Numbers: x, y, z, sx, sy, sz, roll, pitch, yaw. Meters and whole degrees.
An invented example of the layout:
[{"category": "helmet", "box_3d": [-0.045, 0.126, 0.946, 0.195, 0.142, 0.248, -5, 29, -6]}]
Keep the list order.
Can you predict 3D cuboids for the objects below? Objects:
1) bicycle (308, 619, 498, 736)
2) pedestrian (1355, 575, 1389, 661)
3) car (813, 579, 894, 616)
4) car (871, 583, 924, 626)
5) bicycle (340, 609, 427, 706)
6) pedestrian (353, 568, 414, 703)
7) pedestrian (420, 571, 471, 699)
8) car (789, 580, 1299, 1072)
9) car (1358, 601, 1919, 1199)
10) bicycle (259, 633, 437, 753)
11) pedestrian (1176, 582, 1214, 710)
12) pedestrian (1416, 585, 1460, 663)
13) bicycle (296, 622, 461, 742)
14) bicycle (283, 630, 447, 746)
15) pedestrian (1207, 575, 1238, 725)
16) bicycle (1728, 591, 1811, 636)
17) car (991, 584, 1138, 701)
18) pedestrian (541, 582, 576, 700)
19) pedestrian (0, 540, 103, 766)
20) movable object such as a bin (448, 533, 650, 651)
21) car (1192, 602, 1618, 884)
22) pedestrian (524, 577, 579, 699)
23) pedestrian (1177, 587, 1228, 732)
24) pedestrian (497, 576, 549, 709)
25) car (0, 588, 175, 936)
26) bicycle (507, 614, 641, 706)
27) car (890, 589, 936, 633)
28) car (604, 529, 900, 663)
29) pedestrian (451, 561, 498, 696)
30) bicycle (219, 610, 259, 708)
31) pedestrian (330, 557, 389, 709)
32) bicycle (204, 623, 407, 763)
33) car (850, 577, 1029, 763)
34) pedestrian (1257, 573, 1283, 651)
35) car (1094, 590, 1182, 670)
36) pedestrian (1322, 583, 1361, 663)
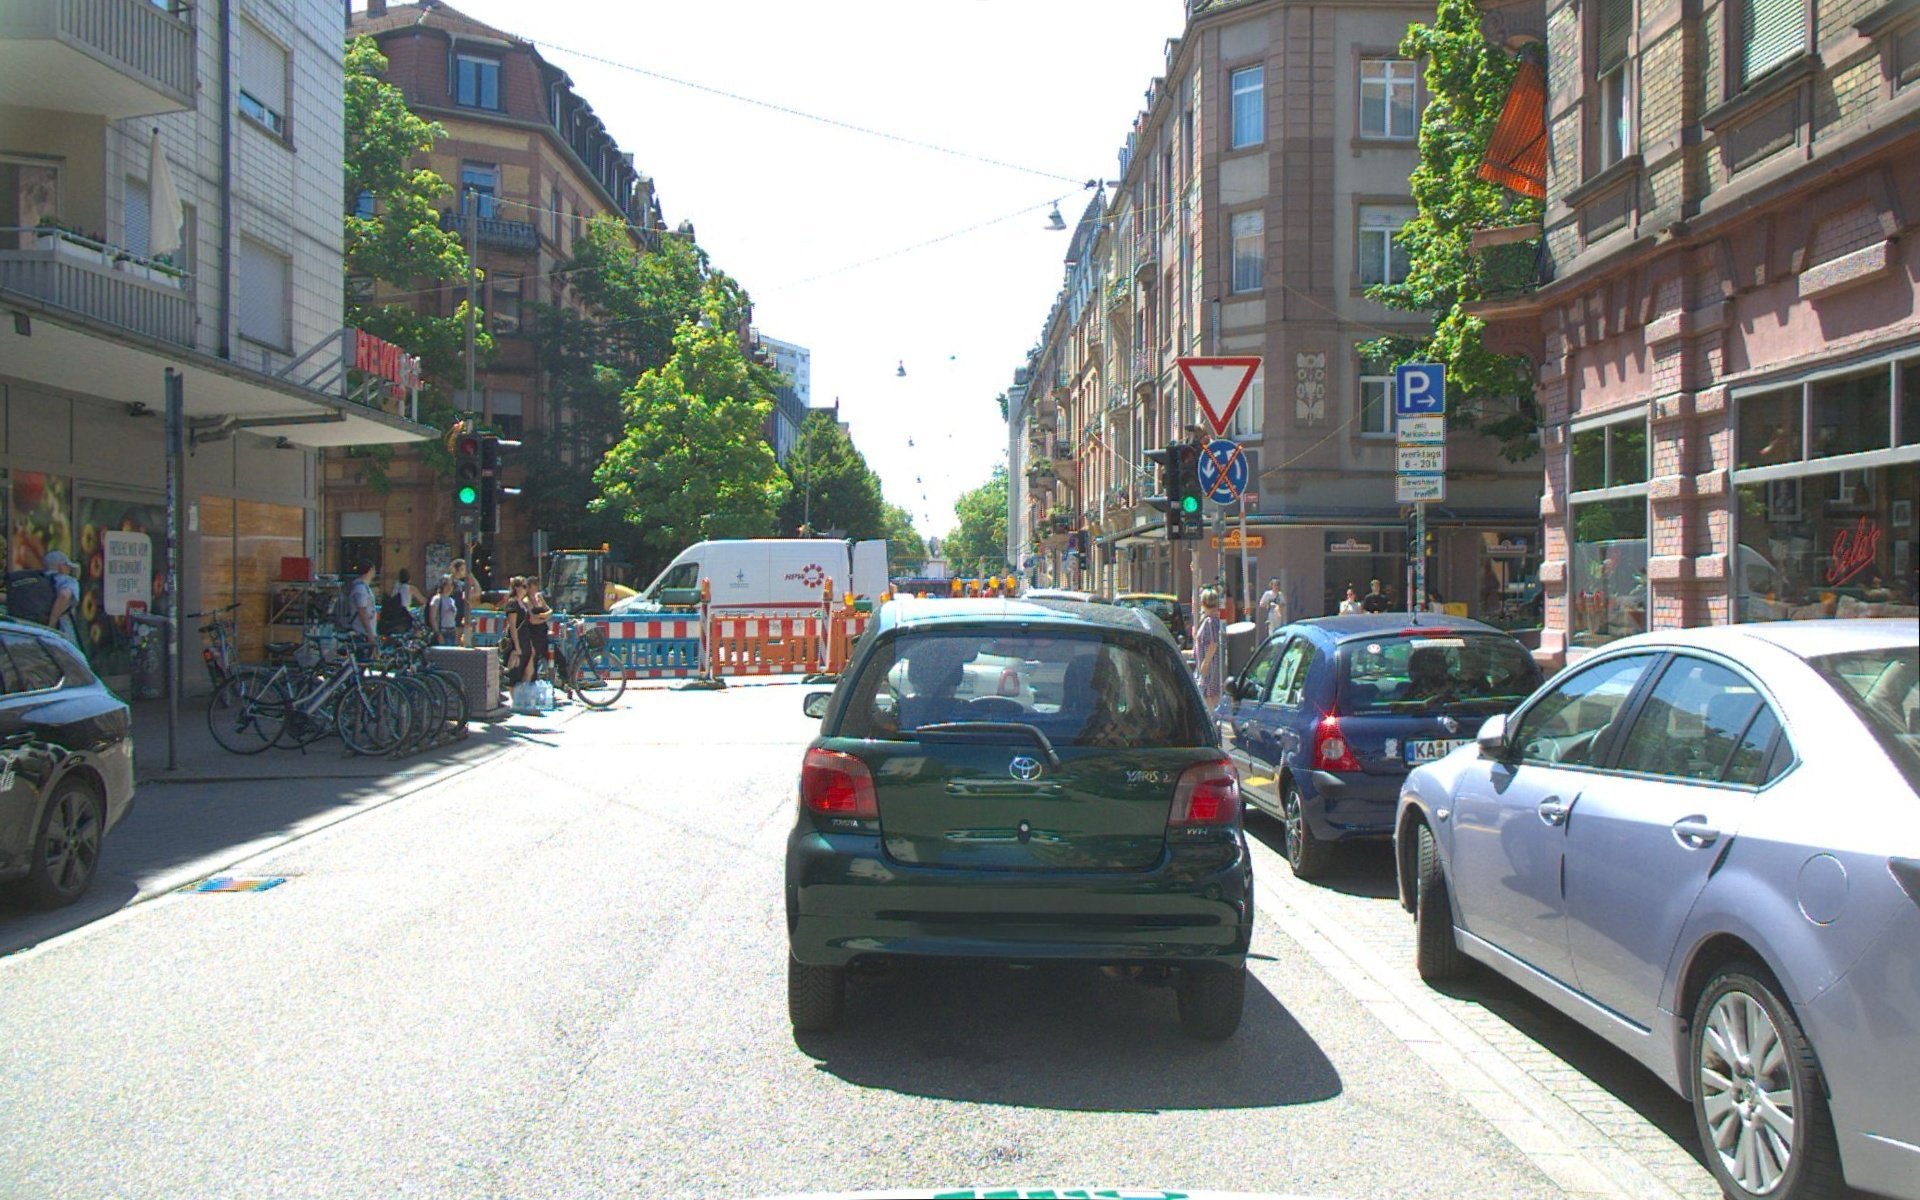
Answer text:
[{"category": "bicycle", "box_3d": [-5.850, 0.811, 17.436, 1.763, 1.142, 0.577, 2, 0, -7]}, {"category": "pedestrian", "box_3d": [8.904, 0.389, 35.754, 0.564, 1.799, 0.471, -2, 3, -9]}, {"category": "car", "box_3d": [-6.439, -0.135, 100.302, 4.506, 2.226, 1.982, 0, 0, -28]}, {"category": "car", "box_3d": [-2.183, 0.158, 58.629, 1.719, 1.469, 3.999, 0, 0, -1]}, {"category": "bicycle", "box_3d": [-7.985, 0.771, 23.000, 0.524, 1.269, 2.012, 0, 0, -1]}, {"category": "pedestrian", "box_3d": [-7.997, 0.483, 22.962, 0.519, 1.828, 0.938, 0, 0, -1]}, {"category": "pedestrian", "box_3d": [-6.790, 0.457, 21.854, 0.499, 1.661, 0.599, 0, 0, -3]}, {"category": "car", "box_3d": [0.335, 0.709, 6.832, 1.580, 1.511, 3.242, 1, 0, 3]}, {"category": "car", "box_3d": [2.742, 0.752, 5.245, 1.691, 1.457, 4.483, -1, 0, -3]}, {"category": "bicycle", "box_3d": [-5.744, 0.872, 15.564, 1.465, 1.048, 0.397, 3, 0, -5]}, {"category": "pedestrian", "box_3d": [2.957, 0.573, 20.811, 0.450, 1.587, 0.479, 0, 0, 5]}, {"category": "pedestrian", "box_3d": [10.319, 0.512, 35.720, 0.785, 1.652, 0.643, 0, 0, 1]}, {"category": "bicycle", "box_3d": [-5.868, 0.826, 16.736, 1.489, 1.136, 0.335, 3, 0, -5]}, {"category": "bicycle", "box_3d": [-5.800, 0.858, 16.156, 1.419, 1.054, 0.335, 3, 0, -5]}, {"category": "pedestrian", "box_3d": [3.018, 0.567, 19.045, 0.325, 1.705, 0.402, 0, 0, 5]}, {"category": "bicycle", "box_3d": [18.764, 0.304, 38.350, 1.690, 1.014, 0.504, 0, 2, -5]}, {"category": "car", "box_3d": [1.617, 0.573, 24.642, 1.490, 1.620, 3.266, 0, 0, 17]}, {"category": "pedestrian", "box_3d": [-5.649, 0.575, 23.287, 0.382, 1.646, 0.475, 0, 0, -3]}, {"category": "pedestrian", "box_3d": [-7.318, 0.409, 13.181, 0.617, 1.757, 0.658, 0, 0, 0]}, {"category": "movable object such as a bin", "box_3d": [-10.174, -0.193, 41.201, 4.450, 2.705, 1.955, 2, 0, 0]}, {"category": "car", "box_3d": [2.626, 0.760, 10.618, 1.595, 1.457, 3.658, -1, 0, -3]}, {"category": "pedestrian", "box_3d": [-5.446, 0.496, 22.040, 0.486, 1.593, 0.459, 2, 1, 25]}, {"category": "pedestrian", "box_3d": [2.682, 0.655, 18.321, 0.482, 1.570, 0.437, -2, 0, 5]}, {"category": "pedestrian", "box_3d": [-5.518, 0.532, 20.901, 0.530, 1.661, 0.511, 0, 0, -3]}, {"category": "car", "box_3d": [-5.132, 0.726, 6.831, 1.636, 1.551, 4.463, 1, 0, 0]}, {"category": "bicycle", "box_3d": [-5.183, 0.795, 22.207, 1.767, 1.138, 0.468, 2, 0, 21]}, {"category": "car", "box_3d": [-1.907, 0.449, 68.252, 1.719, 1.674, 4.377, -3, 0, -1]}, {"category": "car", "box_3d": [-4.747, -0.094, 38.516, 6.486, 2.799, 2.380, 2, 0, 0]}, {"category": "pedestrian", "box_3d": [-6.732, 0.395, 22.960, 0.499, 1.852, 0.599, 0, 0, -3]}, {"category": "bicycle", "box_3d": [-8.710, 0.696, 19.999, 0.316, 1.105, 1.425, 1, 1, -19]}, {"category": "pedestrian", "box_3d": [-7.186, 0.388, 19.809, 0.499, 1.801, 0.599, 0, 0, -3]}, {"category": "bicycle", "box_3d": [-5.831, 0.820, 14.781, 1.553, 1.159, 0.526, 3, 0, -5]}, {"category": "car", "box_3d": [-0.202, 0.574, 15.430, 1.491, 1.547, 3.263, 0, 0, -1]}, {"category": "pedestrian", "box_3d": [7.113, 0.284, 37.914, 0.467, 1.763, 0.872, 0, -1, 18]}, {"category": "car", "box_3d": [3.462, 0.543, 32.408, 1.593, 1.457, 3.663, -1, 0, 6]}, {"category": "pedestrian", "box_3d": [8.207, 0.491, 35.564, 0.688, 1.673, 0.422, -2, 3, -9]}]
